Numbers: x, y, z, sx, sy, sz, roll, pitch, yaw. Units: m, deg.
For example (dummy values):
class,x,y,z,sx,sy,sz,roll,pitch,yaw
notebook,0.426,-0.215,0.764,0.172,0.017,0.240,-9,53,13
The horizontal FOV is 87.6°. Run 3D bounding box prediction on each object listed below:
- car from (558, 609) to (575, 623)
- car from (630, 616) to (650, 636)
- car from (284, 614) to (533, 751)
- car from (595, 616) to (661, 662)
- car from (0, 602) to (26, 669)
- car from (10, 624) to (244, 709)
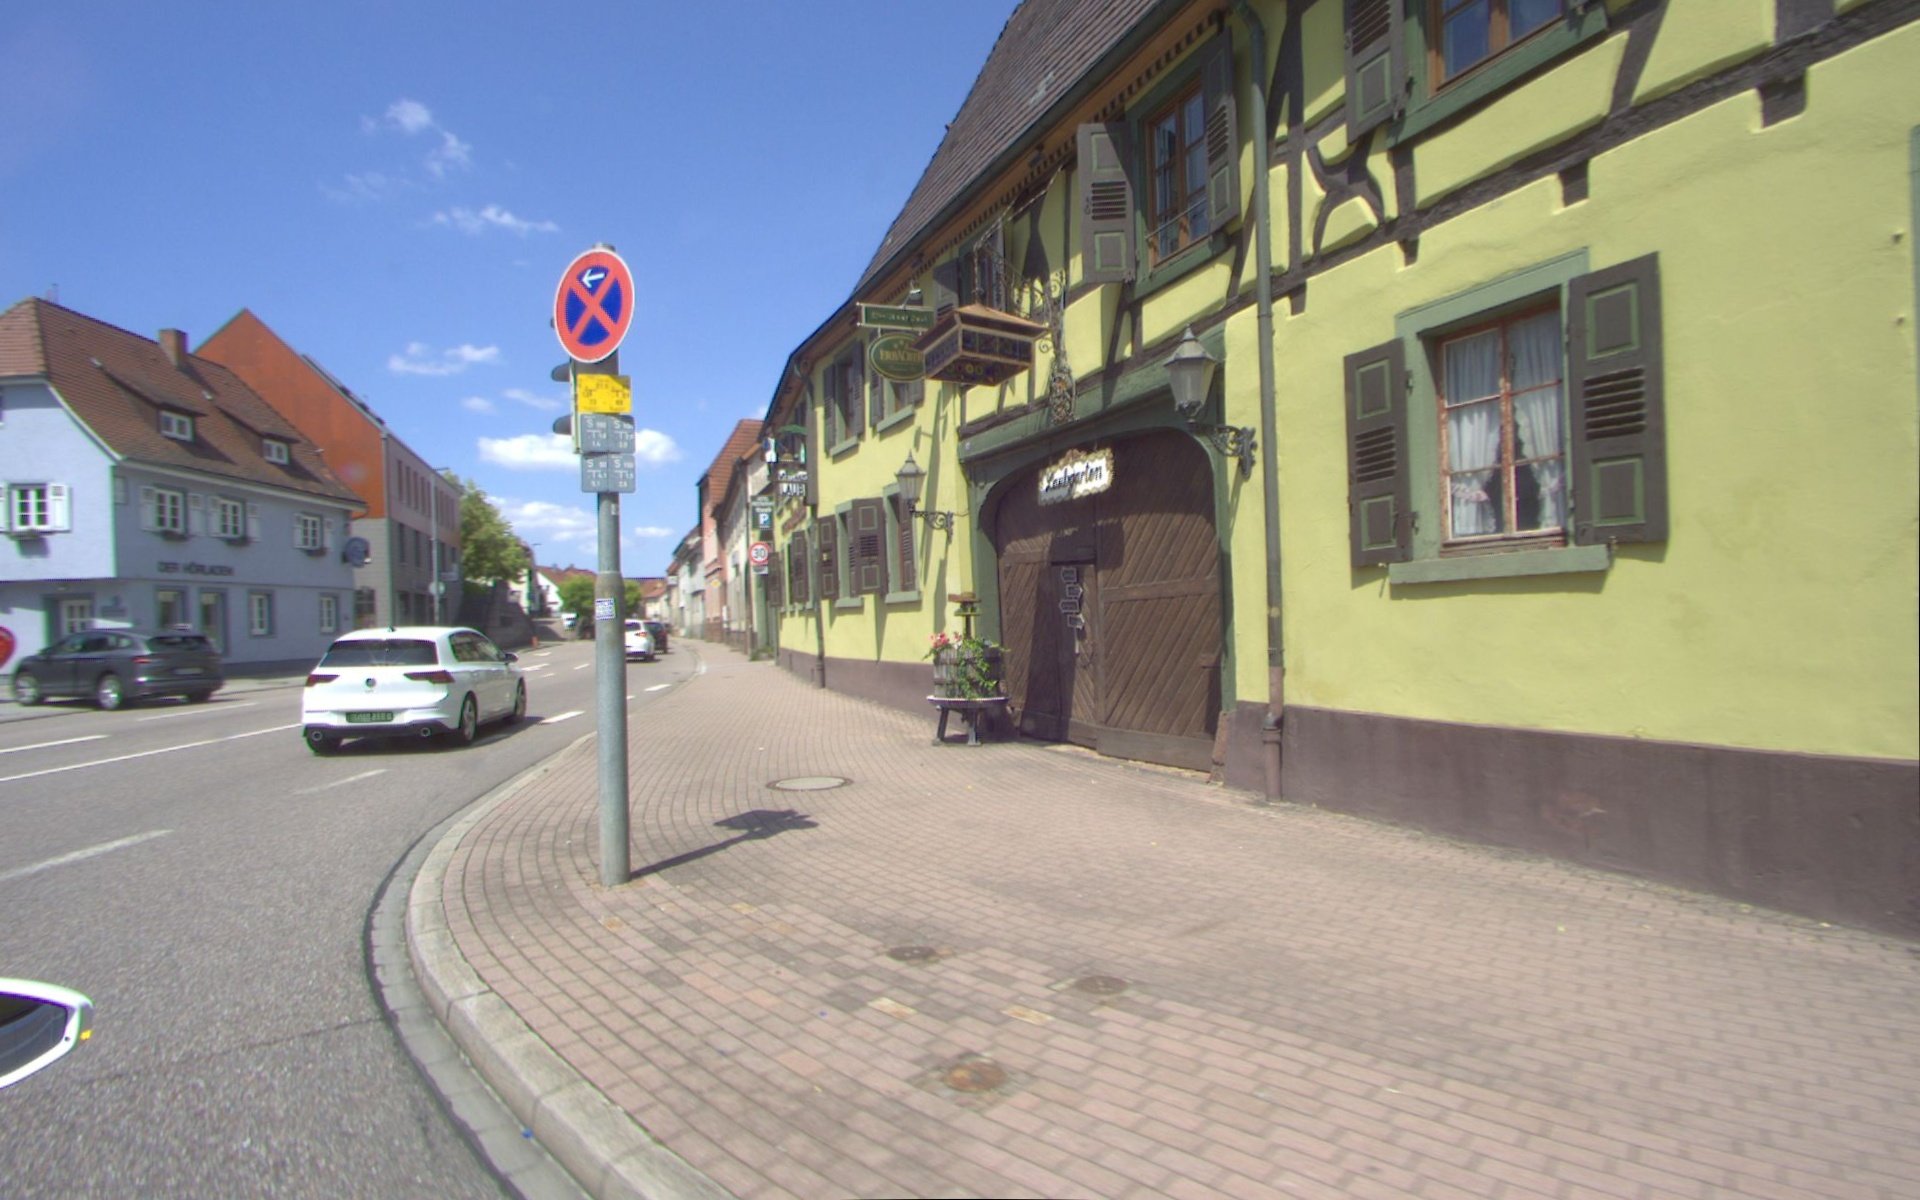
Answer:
class,x,y,z,sx,sy,sz,roll,pitch,yaw
car,-51.622,2.106,131.325,1.966,1.739,3.991,0,-2,-20
car,-31.540,2.544,98.631,1.757,1.864,3.856,-1,-1,-18
car,-6.979,0.970,13.138,1.755,1.477,3.861,-1,-1,-11
car,-11.611,1.351,35.224,1.755,1.477,3.860,-1,-1,-12
car,-30.854,1.108,28.508,2.476,2.039,5.995,-3,-1,7
car,-17.631,1.335,21.220,4.250,1.603,1.952,0,0,20
